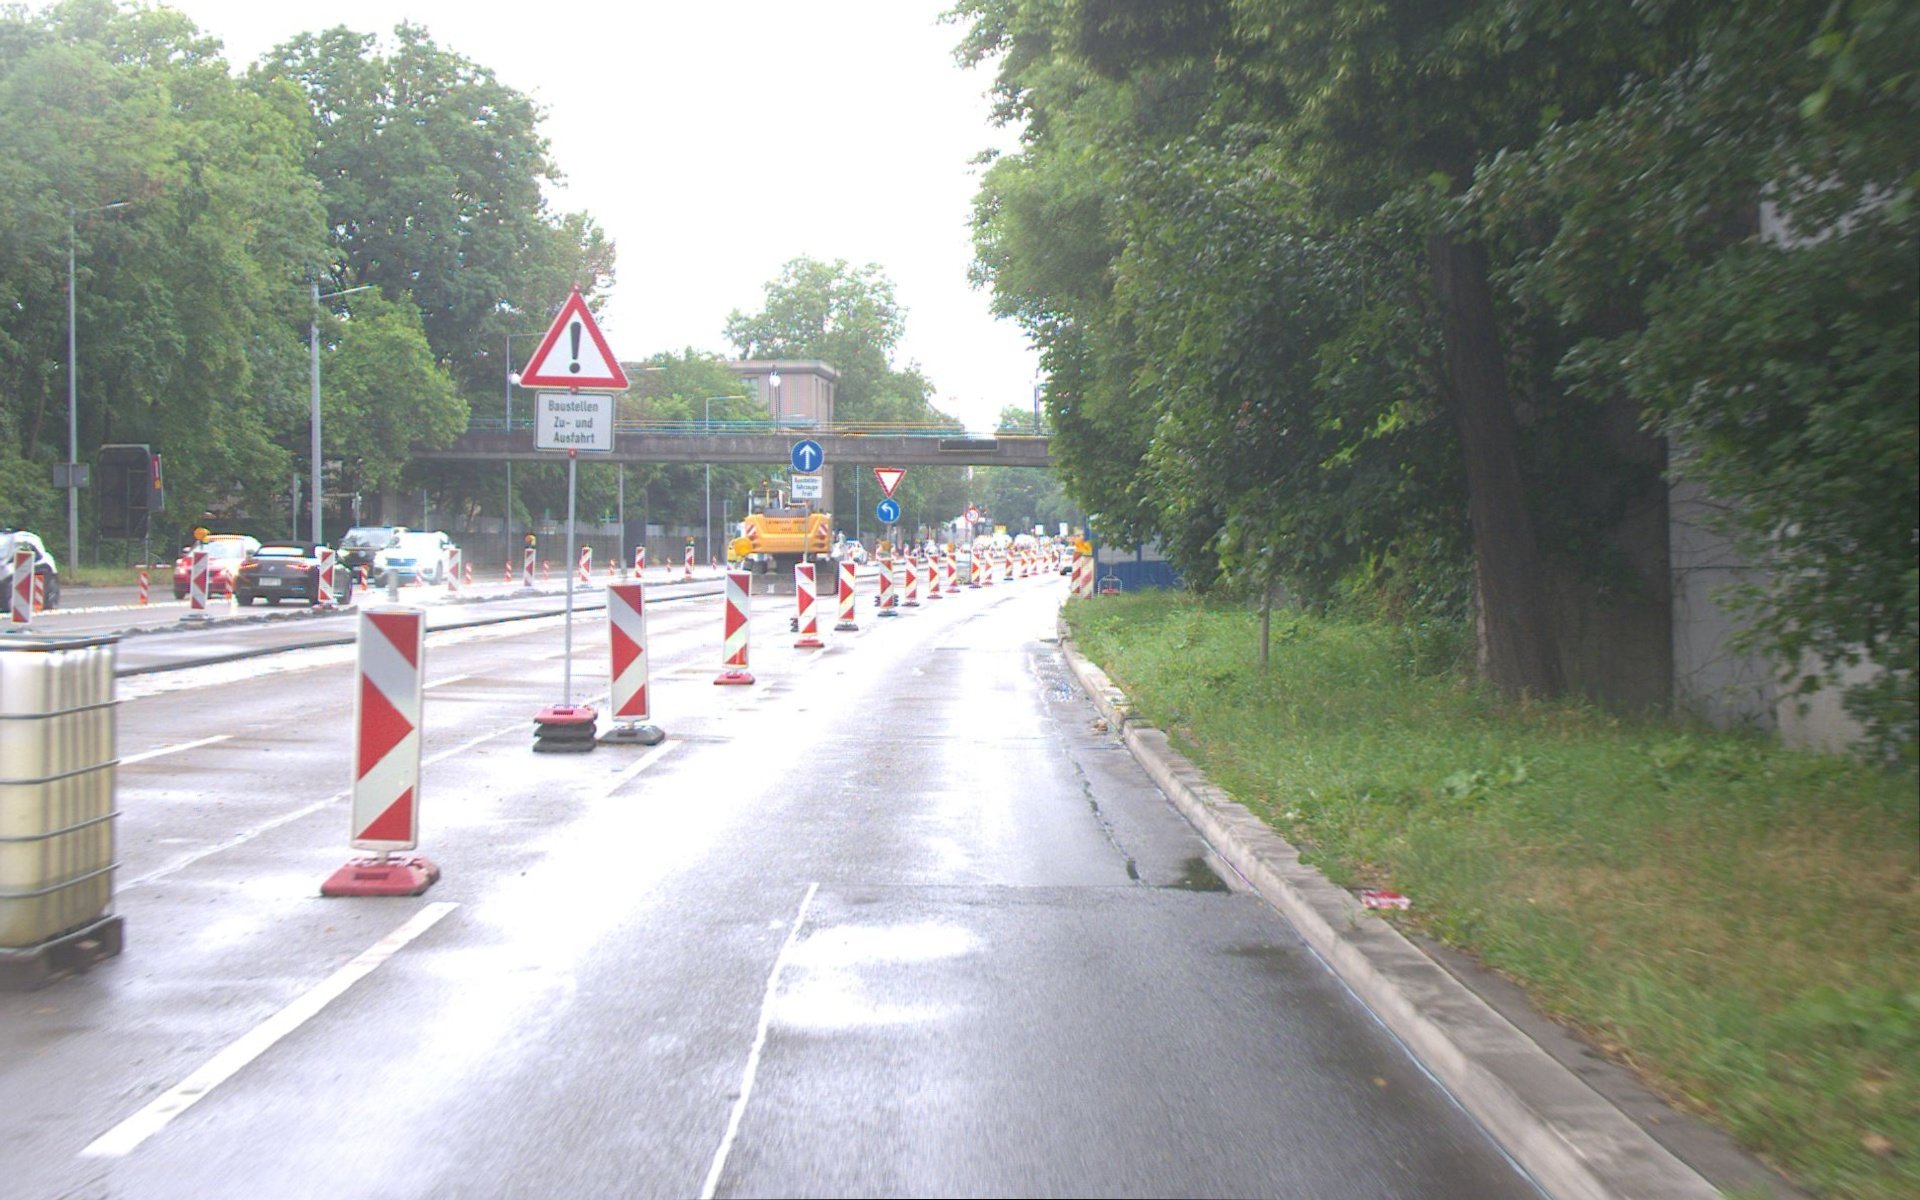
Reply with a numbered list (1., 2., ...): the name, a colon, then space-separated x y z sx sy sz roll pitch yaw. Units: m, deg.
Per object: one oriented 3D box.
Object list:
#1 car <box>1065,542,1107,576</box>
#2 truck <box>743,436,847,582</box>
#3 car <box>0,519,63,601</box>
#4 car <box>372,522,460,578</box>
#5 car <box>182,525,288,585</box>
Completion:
1. car: 6.298 -2.067 171.698 1.994 1.634 4.000 -1 1 4
2. truck: -5.038 -2.799 106.645 2.897 4.244 10.757 1 1 -1
3. car: -18.335 -0.780 64.726 1.776 1.482 4.197 1 1 0
4. car: -16.678 -1.546 105.612 1.890 1.655 4.893 1 1 0
5. car: -17.571 -1.101 83.473 1.679 1.396 4.013 1 1 1
